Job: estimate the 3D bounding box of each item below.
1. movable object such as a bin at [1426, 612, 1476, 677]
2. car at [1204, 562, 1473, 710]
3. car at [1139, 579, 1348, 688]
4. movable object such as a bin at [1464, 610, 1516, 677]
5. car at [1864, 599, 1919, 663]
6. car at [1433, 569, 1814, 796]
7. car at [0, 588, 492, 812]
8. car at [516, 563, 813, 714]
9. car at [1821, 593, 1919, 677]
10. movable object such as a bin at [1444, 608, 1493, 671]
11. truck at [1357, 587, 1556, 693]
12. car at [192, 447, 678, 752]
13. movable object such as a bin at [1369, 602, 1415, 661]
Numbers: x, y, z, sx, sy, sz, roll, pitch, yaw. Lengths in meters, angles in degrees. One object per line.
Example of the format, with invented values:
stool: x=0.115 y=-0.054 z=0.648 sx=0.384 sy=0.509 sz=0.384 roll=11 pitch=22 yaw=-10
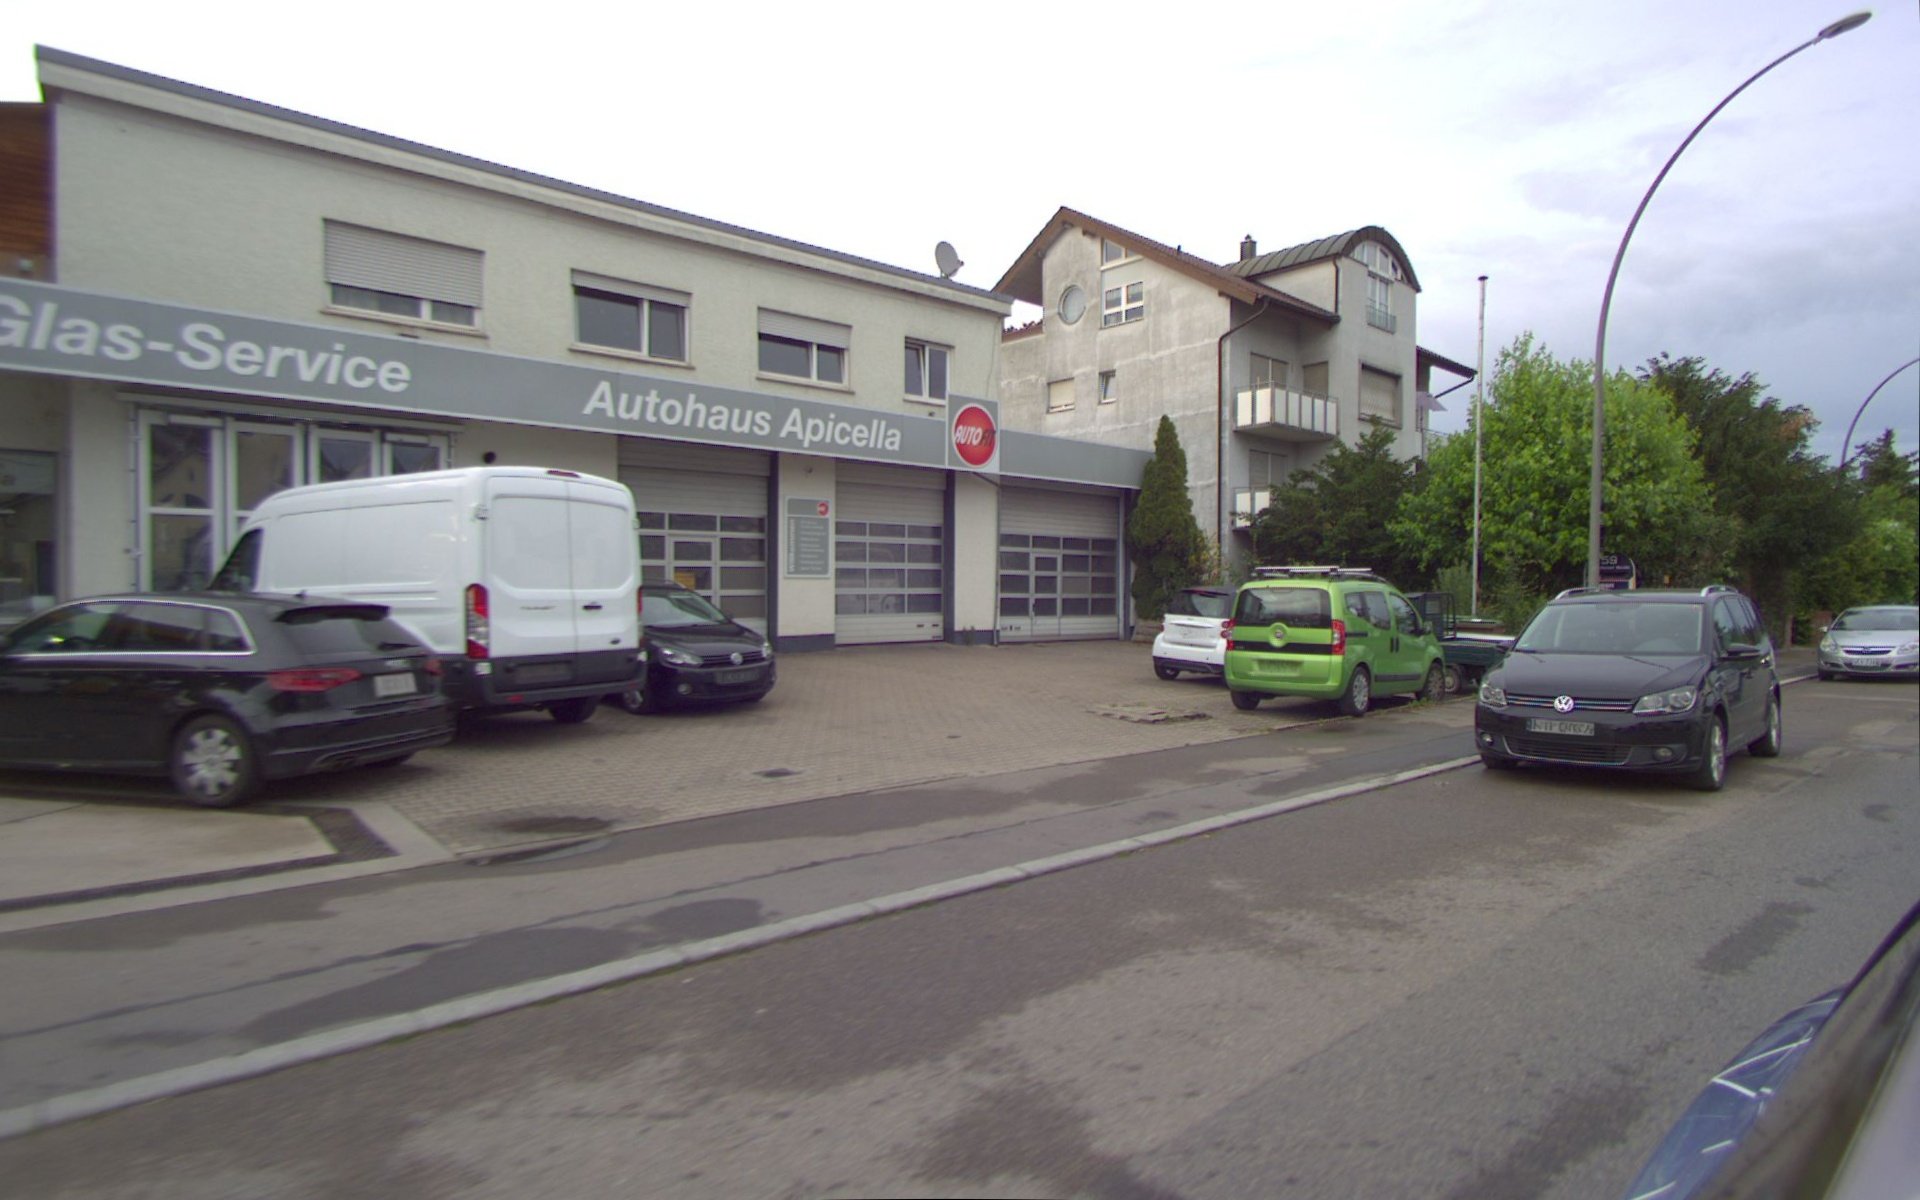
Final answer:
movable object such as a bin: x=8.592 y=0.768 z=17.717 sx=0.670 sy=1.088 sz=0.575 roll=0 pitch=1 yaw=-41
car: x=5.252 y=0.403 z=13.795 sx=1.994 sy=1.704 sz=3.935 roll=1 pitch=1 yaw=45
car: x=4.846 y=0.492 z=17.045 sx=3.671 sy=1.538 sz=1.749 roll=0 pitch=4 yaw=-45
movable object such as a bin: x=9.035 y=0.733 z=17.255 sx=0.670 sy=1.088 sz=0.575 roll=0 pitch=1 yaw=-41
car: x=22.708 y=0.692 z=23.764 sx=3.653 sy=1.421 sz=1.740 roll=1 pitch=-1 yaw=-41
car: x=6.212 y=0.580 z=9.313 sx=3.931 sy=1.616 sz=1.997 roll=1 pitch=1 yaw=-42
car: x=-5.880 y=0.628 z=7.669 sx=3.934 sy=1.392 sz=1.776 roll=1 pitch=1 yaw=9
car: x=-3.899 y=0.371 z=12.906 sx=1.866 sy=1.593 sz=4.305 roll=0 pitch=1 yaw=-44
car: x=18.582 y=0.660 z=19.984 sx=3.811 sy=1.521 sz=1.741 roll=0 pitch=-1 yaw=-39
movable object such as a bin: x=9.154 y=0.701 z=18.215 sx=0.670 sy=1.088 sz=0.575 roll=0 pitch=1 yaw=-41
truck: x=7.976 y=0.598 z=16.392 sx=1.300 sy=1.549 sz=2.565 roll=3 pitch=-1 yaw=-33
car: x=-5.526 y=-0.049 z=10.577 sx=4.760 sy=2.552 sz=2.225 roll=1 pitch=0 yaw=28
movable object such as a bin: x=8.192 y=0.583 z=19.187 sx=0.670 sy=1.088 sz=0.575 roll=0 pitch=1 yaw=-41
